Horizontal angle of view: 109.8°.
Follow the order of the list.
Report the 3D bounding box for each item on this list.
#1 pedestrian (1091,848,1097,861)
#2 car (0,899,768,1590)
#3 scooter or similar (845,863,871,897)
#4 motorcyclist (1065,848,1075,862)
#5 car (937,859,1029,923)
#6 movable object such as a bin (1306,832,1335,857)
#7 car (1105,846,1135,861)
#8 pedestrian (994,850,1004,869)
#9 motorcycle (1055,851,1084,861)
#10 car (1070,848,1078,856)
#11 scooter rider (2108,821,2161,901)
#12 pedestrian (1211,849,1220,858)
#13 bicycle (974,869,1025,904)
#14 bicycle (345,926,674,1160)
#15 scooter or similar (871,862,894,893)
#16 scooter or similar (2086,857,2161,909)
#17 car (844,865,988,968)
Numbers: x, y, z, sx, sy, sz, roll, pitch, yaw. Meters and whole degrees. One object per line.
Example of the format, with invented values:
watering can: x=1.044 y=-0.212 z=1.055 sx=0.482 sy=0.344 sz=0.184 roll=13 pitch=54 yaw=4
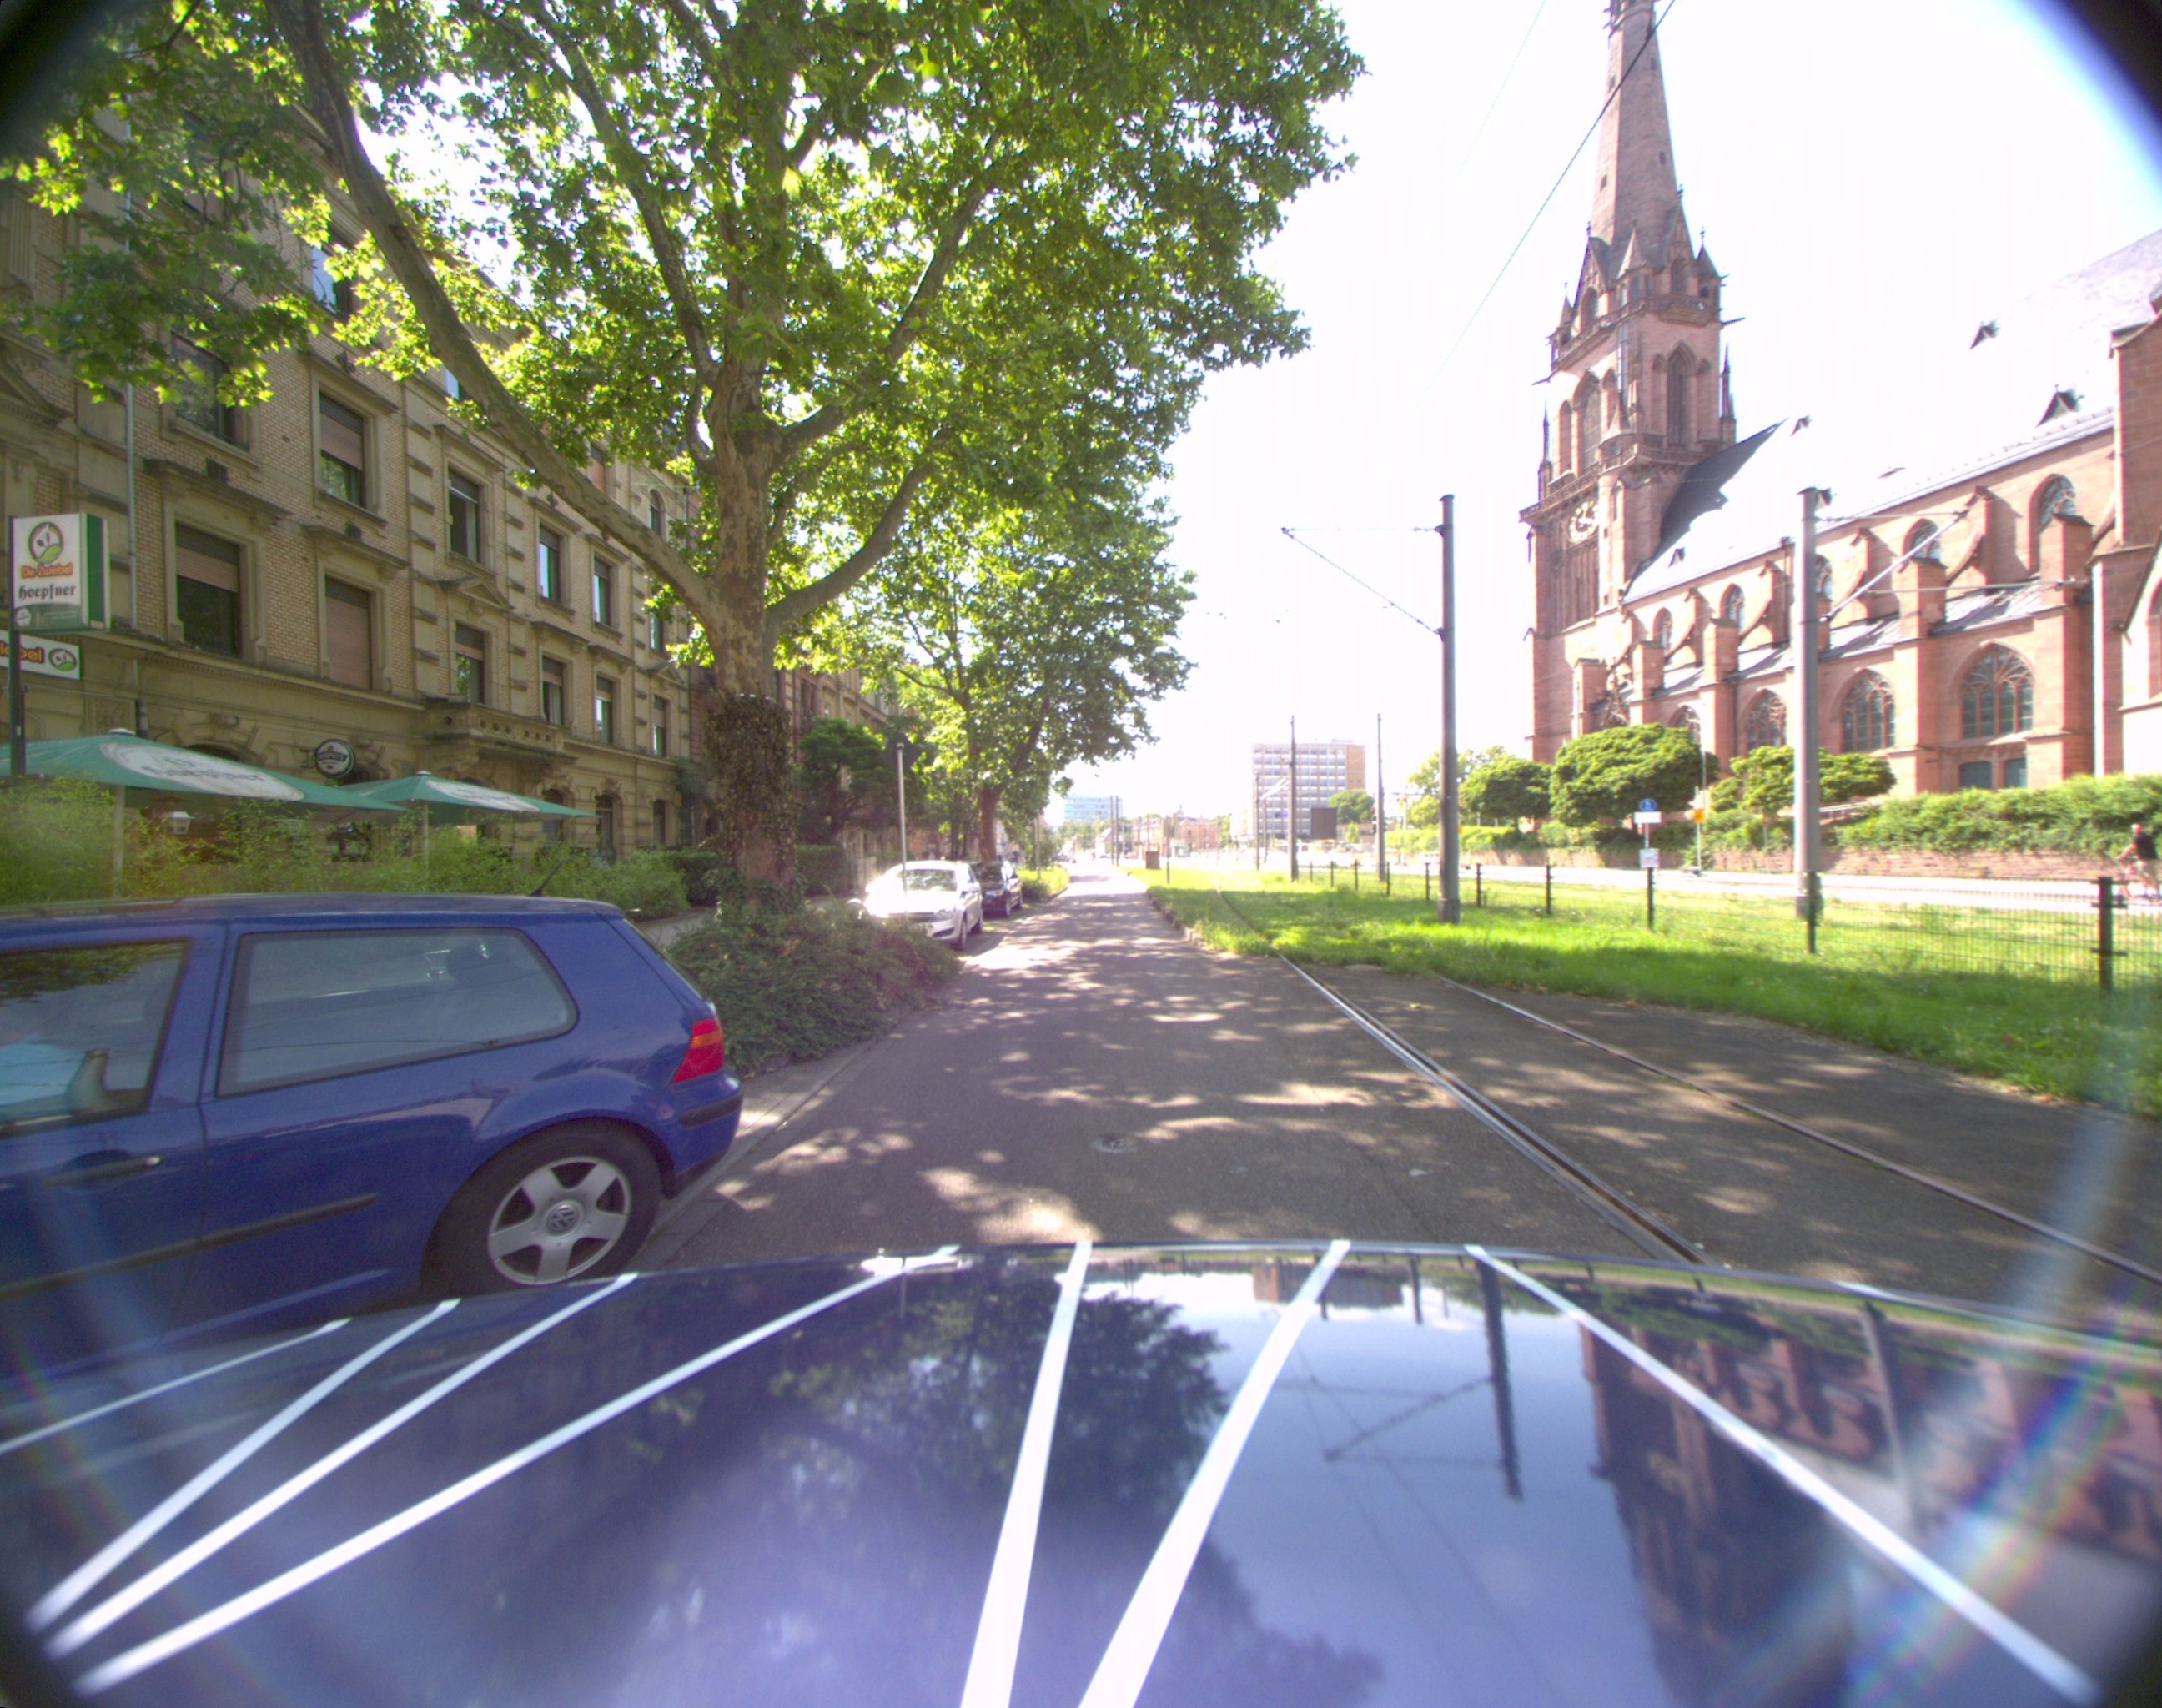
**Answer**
pedestrian: x=1.796 y=0.063 z=104.673 sx=0.850 sy=1.644 sz=1.128 roll=-1 pitch=1 yaw=1
car: x=-3.336 y=0.975 z=2.138 sx=1.882 sy=1.401 sz=4.101 roll=-1 pitch=1 yaw=43
scooter or similar: x=-8.440 y=0.967 z=28.802 sx=0.583 sy=1.240 sz=1.145 roll=-1 pitch=1 yaw=1
motorcyclist: x=-1.606 y=0.077 z=107.042 sx=1.106 sy=1.919 sz=1.334 roll=-1 pitch=1 yaw=12
car: x=-2.595 y=0.935 z=21.174 sx=1.838 sy=1.499 sz=4.643 roll=-1 pitch=0 yaw=1
movable object such as a bin: x=37.712 y=-1.483 z=119.757 sx=3.340 sy=3.859 sz=2.932 roll=-1 pitch=1 yaw=-33
car: x=5.358 y=-0.079 z=103.501 sx=3.996 sy=2.002 sz=2.000 roll=-1 pitch=1 yaw=3
pedestrian: x=-7.841 y=0.520 z=72.551 sx=0.797 sy=1.708 sz=0.967 roll=-1 pitch=1 yaw=0
motorcycle: x=-1.590 y=0.303 z=107.041 sx=3.931 sy=1.331 sz=1.246 roll=-1 pitch=1 yaw=12
car: x=-1.784 y=-0.628 z=202.516 sx=1.998 sy=2.002 sz=4.000 roll=-1 pitch=0 yaw=1
scooter rider: x=25.305 y=0.164 z=18.180 sx=0.667 sy=1.856 sz=0.665 roll=0 pitch=1 yaw=30
pedestrian: x=25.427 y=-0.073 z=143.343 sx=1.426 sy=1.796 sz=1.422 roll=-1 pitch=1 yaw=-3
bicycle: x=-2.690 y=1.071 z=25.116 sx=1.641 sy=1.082 sz=0.470 roll=-1 pitch=1 yaw=-32
bicycle: x=-3.556 y=1.098 z=4.892 sx=0.421 sy=1.099 sz=1.619 roll=-1 pitch=1 yaw=33
scooter or similar: x=-8.241 y=0.963 z=31.523 sx=0.583 sy=1.275 sz=1.145 roll=-1 pitch=1 yaw=3
scooter or similar: x=25.281 y=0.680 z=18.218 sx=1.267 sy=1.197 sz=0.658 roll=-1 pitch=1 yaw=29
car: x=-2.835 y=0.999 z=14.034 sx=1.838 sy=1.499 sz=4.490 roll=-1 pitch=0 yaw=-3
